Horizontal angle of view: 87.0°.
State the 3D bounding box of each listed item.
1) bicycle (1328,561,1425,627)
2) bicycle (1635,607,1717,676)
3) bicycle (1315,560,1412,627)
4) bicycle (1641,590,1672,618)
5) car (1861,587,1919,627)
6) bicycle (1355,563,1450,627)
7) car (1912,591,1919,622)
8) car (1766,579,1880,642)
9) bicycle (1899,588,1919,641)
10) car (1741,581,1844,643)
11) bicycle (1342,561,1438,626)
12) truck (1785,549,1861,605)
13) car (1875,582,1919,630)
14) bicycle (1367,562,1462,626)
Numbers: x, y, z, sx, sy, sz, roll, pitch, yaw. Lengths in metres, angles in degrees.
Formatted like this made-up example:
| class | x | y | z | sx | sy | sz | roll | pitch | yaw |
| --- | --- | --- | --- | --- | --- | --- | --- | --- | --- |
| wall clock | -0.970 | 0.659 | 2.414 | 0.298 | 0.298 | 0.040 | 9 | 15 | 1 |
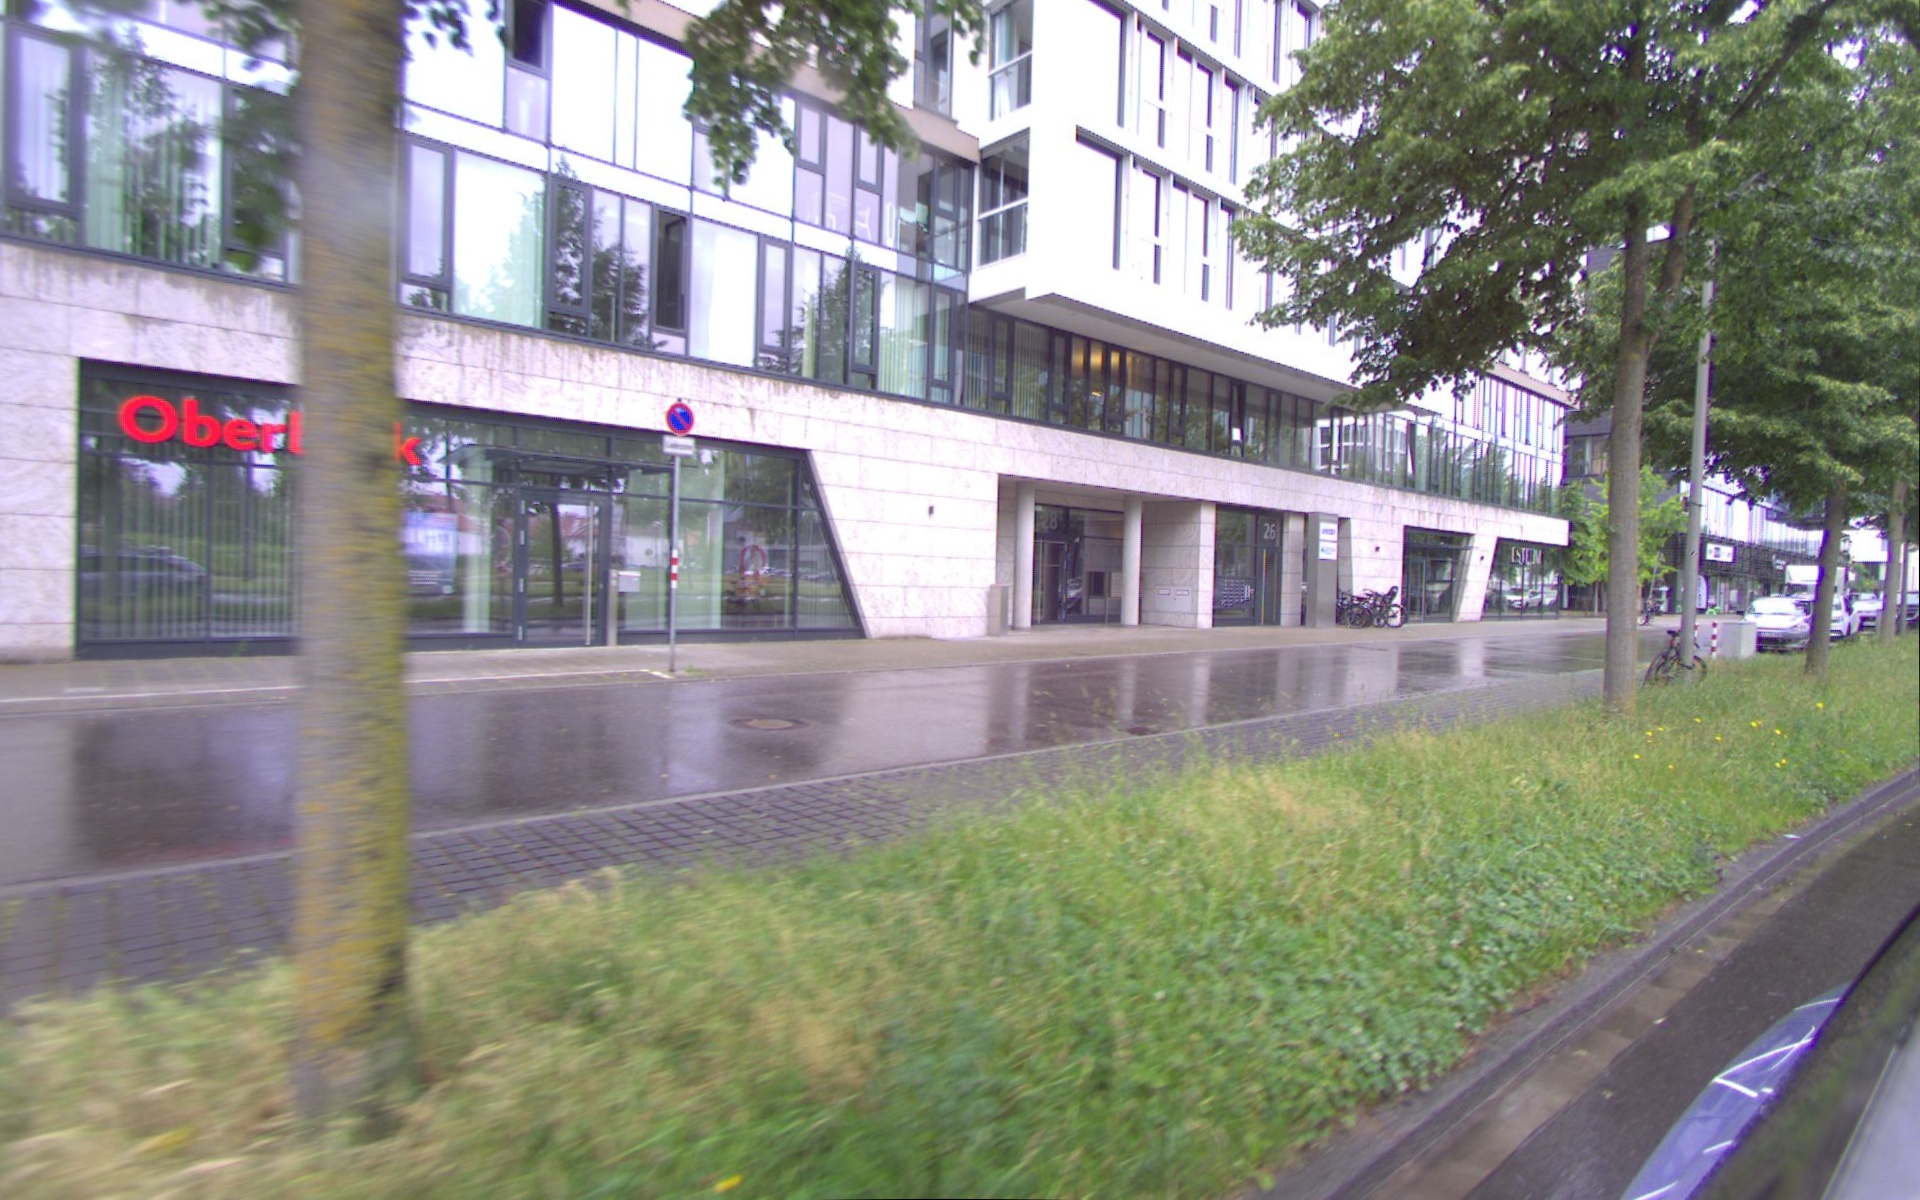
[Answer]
| class | x | y | z | sx | sy | sz | roll | pitch | yaw |
| --- | --- | --- | --- | --- | --- | --- | --- | --- | --- |
| bicycle | 12.550 | -0.205 | 30.571 | 0.694 | 1.883 | 2.689 | 1 | 2 | -36 |
| bicycle | 9.377 | 0.554 | 13.233 | 1.867 | 0.833 | 0.343 | 3 | 0 | -39 |
| bicycle | 11.967 | -0.210 | 30.125 | 0.694 | 1.883 | 2.689 | 1 | 2 | -36 |
| bicycle | 29.728 | 0.183 | 43.206 | 2.027 | 1.144 | 0.519 | 0 | 1 | -39 |
| car | 39.241 | 0.274 | 42.551 | 1.956 | 1.531 | 4.414 | 3 | 2 | 42 |
| bicycle | 13.744 | -0.190 | 31.552 | 0.694 | 1.883 | 2.689 | 1 | 2 | -36 |
| car | 54.161 | 0.386 | 55.883 | 4.642 | 1.690 | 1.996 | 1 | -1 | -42 |
| car | 26.588 | 0.353 | 31.132 | 4.641 | 1.690 | 1.997 | 3 | 0 | -42 |
| bicycle | 22.511 | 0.362 | 22.723 | 0.483 | 1.211 | 2.039 | 0 | 2 | -41 |
| car | 22.429 | 0.333 | 27.238 | 3.593 | 1.509 | 1.628 | 2 | 1 | -43 |
| bicycle | 13.149 | -0.231 | 31.068 | 0.694 | 1.883 | 2.689 | 1 | 2 | -36 |
| truck | 57.311 | -1.467 | 67.125 | 8.408 | 3.484 | 3.027 | 0 | 2 | -45 |
| car | 43.880 | 0.324 | 46.585 | 4.940 | 1.977 | 1.997 | 3 | 0 | -41 |
| bicycle | 14.340 | -0.218 | 32.012 | 0.694 | 1.883 | 2.689 | 1 | 2 | -36 |
